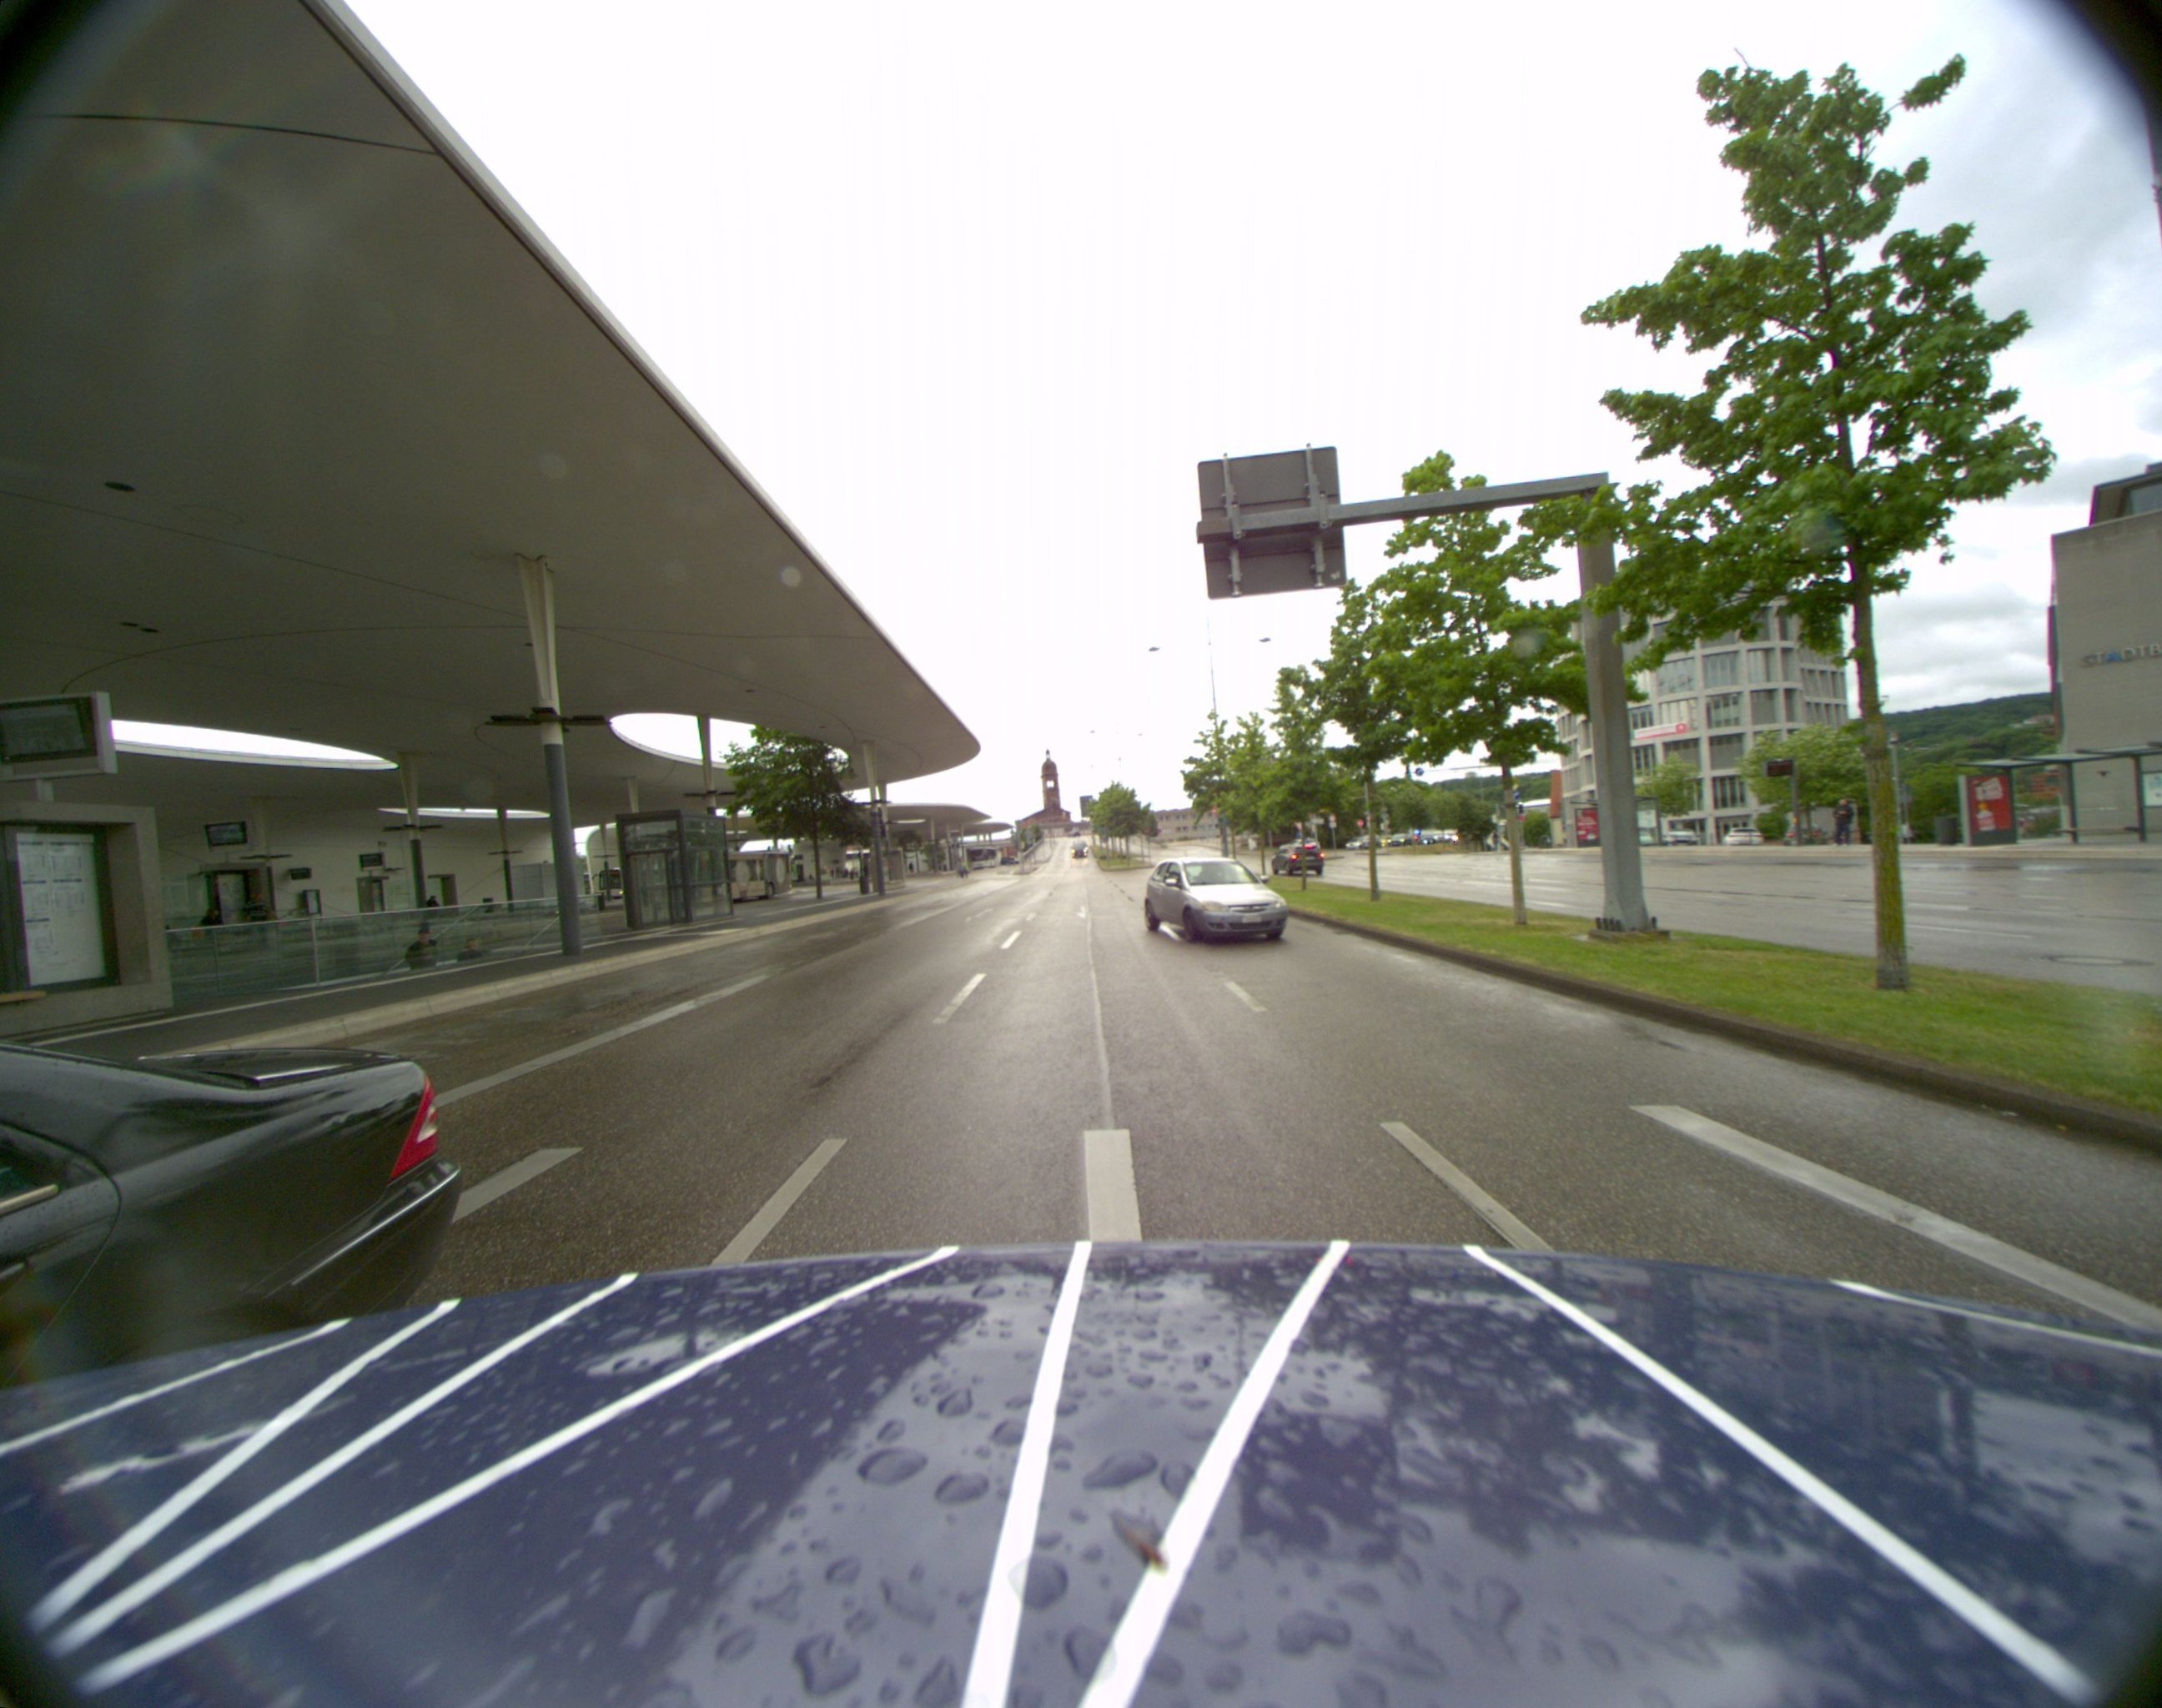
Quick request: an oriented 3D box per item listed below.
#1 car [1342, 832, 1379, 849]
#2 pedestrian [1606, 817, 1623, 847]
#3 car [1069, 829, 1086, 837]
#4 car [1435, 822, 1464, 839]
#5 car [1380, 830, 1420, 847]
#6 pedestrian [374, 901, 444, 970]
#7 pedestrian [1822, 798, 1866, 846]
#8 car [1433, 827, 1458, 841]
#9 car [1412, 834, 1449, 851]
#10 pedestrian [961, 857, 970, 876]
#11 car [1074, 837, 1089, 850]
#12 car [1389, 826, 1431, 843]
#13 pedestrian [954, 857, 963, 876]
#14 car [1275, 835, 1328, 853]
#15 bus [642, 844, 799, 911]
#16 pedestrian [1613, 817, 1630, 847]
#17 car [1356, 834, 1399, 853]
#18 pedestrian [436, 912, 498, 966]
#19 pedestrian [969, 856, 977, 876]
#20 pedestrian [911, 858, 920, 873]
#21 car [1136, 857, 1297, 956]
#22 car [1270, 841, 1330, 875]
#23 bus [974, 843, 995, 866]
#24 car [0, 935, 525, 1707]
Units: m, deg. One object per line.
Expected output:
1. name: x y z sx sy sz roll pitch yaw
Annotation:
1. car: 31.793 -1.564 86.428 4.007 1.783 1.995 -3 1 -36
2. pedestrian: 29.501 -1.213 42.019 0.504 1.625 0.502 -2 1 1
3. car: -0.802 -5.198 185.294 2.003 1.765 3.989 -3 1 -41
4. car: 46.689 -2.941 96.217 1.995 2.002 4.007 -2 1 44
5. car: 35.647 -1.723 84.804 4.925 1.702 2.190 -3 1 -43
6. pedestrian: -12.980 1.562 14.692 0.693 1.244 0.669 -3 1 1
7. pedestrian: 29.132 -1.209 29.015 0.787 1.750 0.972 -3 1 -28
8. car: 49.676 -2.701 103.657 2.192 1.702 4.921 -3 0 15
9. car: 40.959 -1.367 88.952 4.925 1.702 2.190 -3 1 -43
10. pedestrian: -9.826 1.044 64.593 0.557 1.614 0.552 -3 1 1
11. car: 0.082 -1.369 101.214 1.704 1.656 3.998 -3 1 -2
12. car: 43.394 -2.513 100.341 2.312 2.002 5.028 -3 0 -15
13. pedestrian: -10.364 1.068 64.516 0.576 1.614 0.588 -3 1 1
14. car: 23.438 -1.069 80.817 4.918 1.702 2.193 -3 1 -15
15. bus: -19.783 1.123 43.059 3.003 3.088 12.352 -3 0 -1
16. pedestrian: 30.050 -1.240 42.252 0.520 1.625 0.536 -2 1 1
17. car: 31.053 -1.084 79.587 4.925 1.702 2.190 -3 1 -43
18. pedestrian: -11.989 1.650 14.851 0.622 0.957 0.638 -3 1 1
19. pedestrian: -9.187 1.017 64.546 0.557 1.614 0.552 -3 1 1
20. pedestrian: -18.716 1.275 85.884 0.723 1.621 0.753 -3 1 0
21. car: 2.293 0.826 13.845 1.629 1.450 3.732 -3 0 -11
22. car: 11.721 0.186 40.925 1.826 1.630 4.599 -3 0 0
23. bus: -14.305 0.068 113.273 2.675 3.111 9.712 -3 0 -5
24. car: -2.846 1.167 0.292 1.750 1.472 4.434 -7 2 1
